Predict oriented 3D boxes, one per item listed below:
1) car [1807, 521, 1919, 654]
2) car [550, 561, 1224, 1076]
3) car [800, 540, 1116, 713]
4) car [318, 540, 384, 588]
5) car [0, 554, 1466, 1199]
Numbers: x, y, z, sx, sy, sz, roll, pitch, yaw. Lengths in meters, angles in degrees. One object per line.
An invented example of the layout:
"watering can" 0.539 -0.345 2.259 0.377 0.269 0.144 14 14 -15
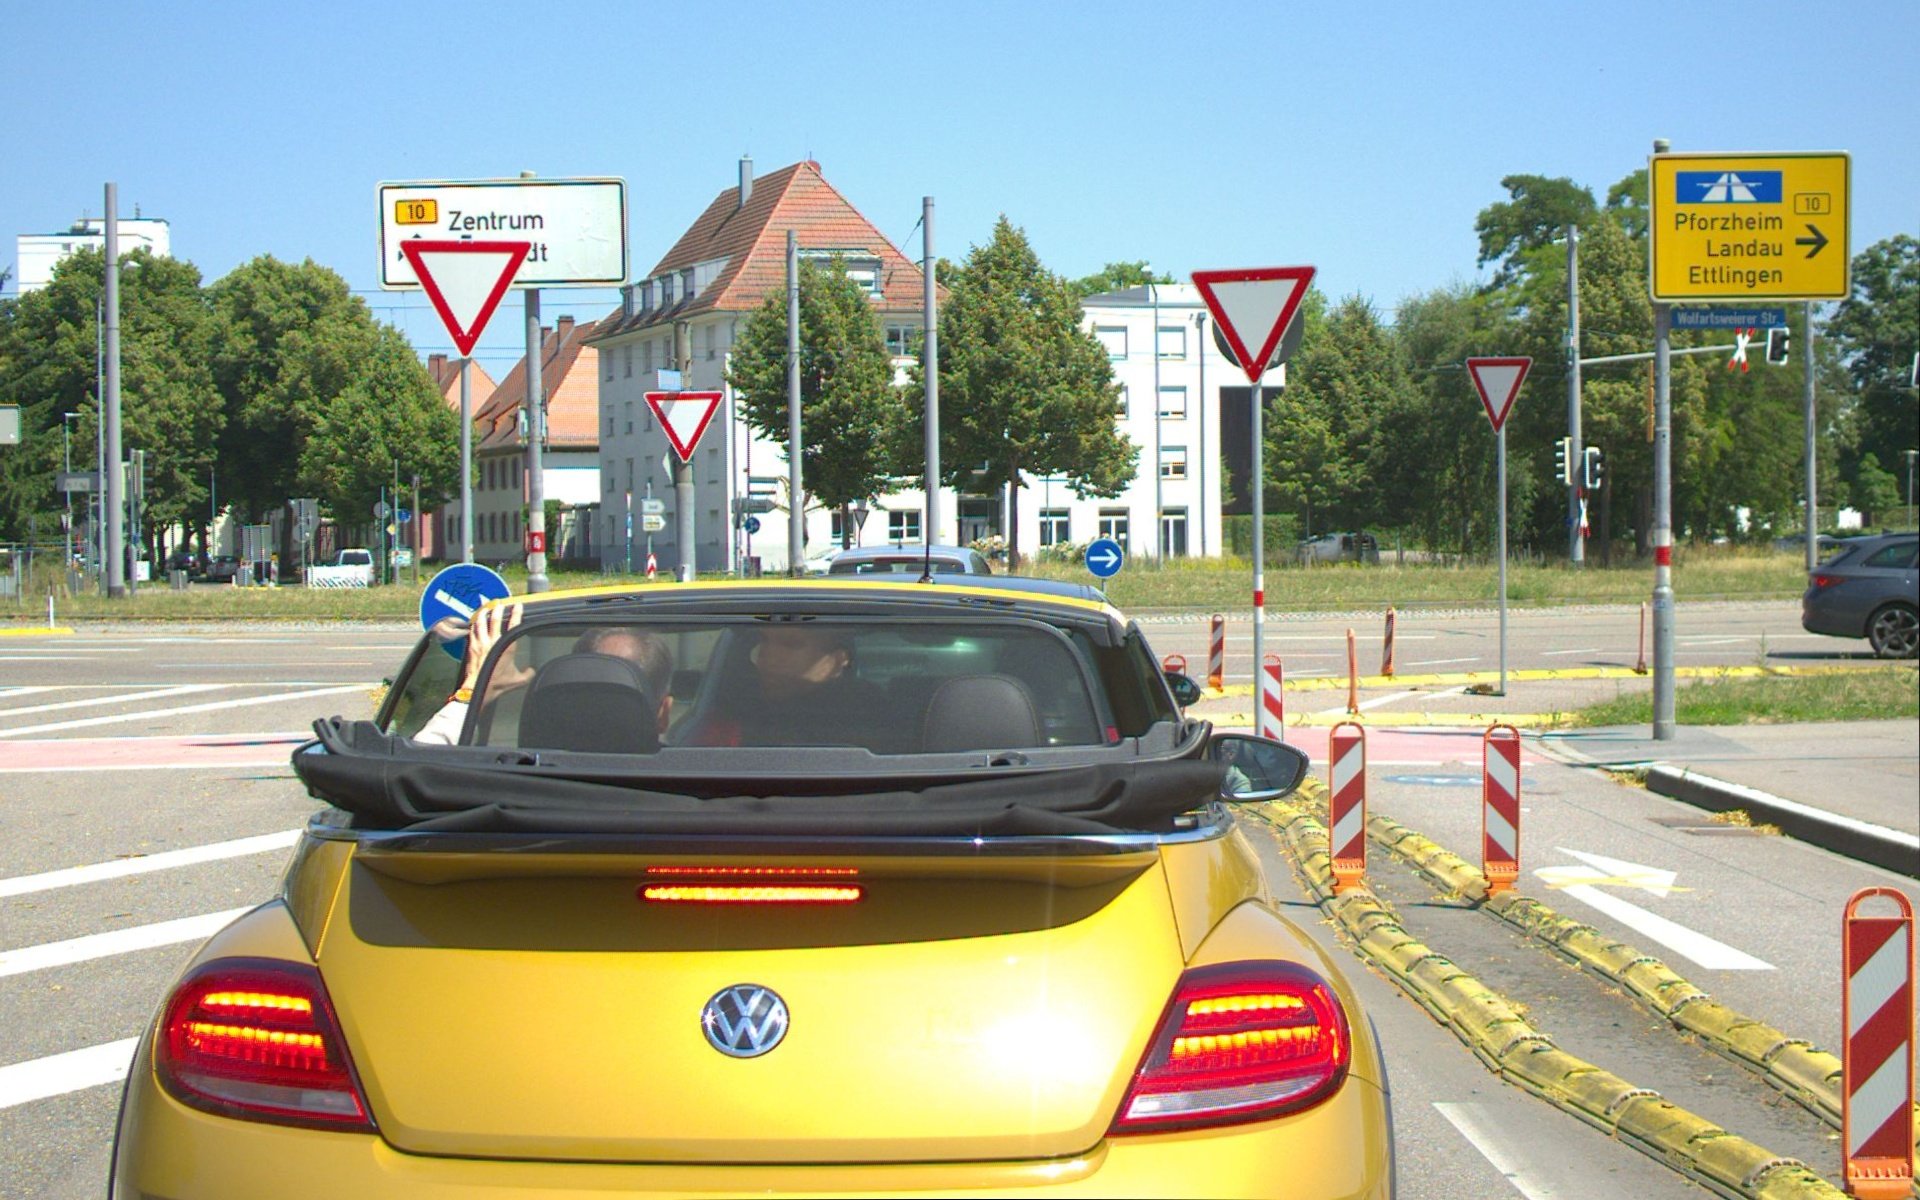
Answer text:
"car" 11.987 -0.168 39.068 4.531 1.476 2.070 0 1 15
"car" -0.226 0.583 11.672 1.851 1.361 4.258 -1 1 -1
"car" 0.074 0.193 30.128 2.066 1.377 4.256 1 1 10
"car" -27.142 -1.615 153.067 1.987 2.063 5.330 1 1 -20
"car" -0.314 0.674 6.225 1.765 1.476 4.258 1 1 -1
